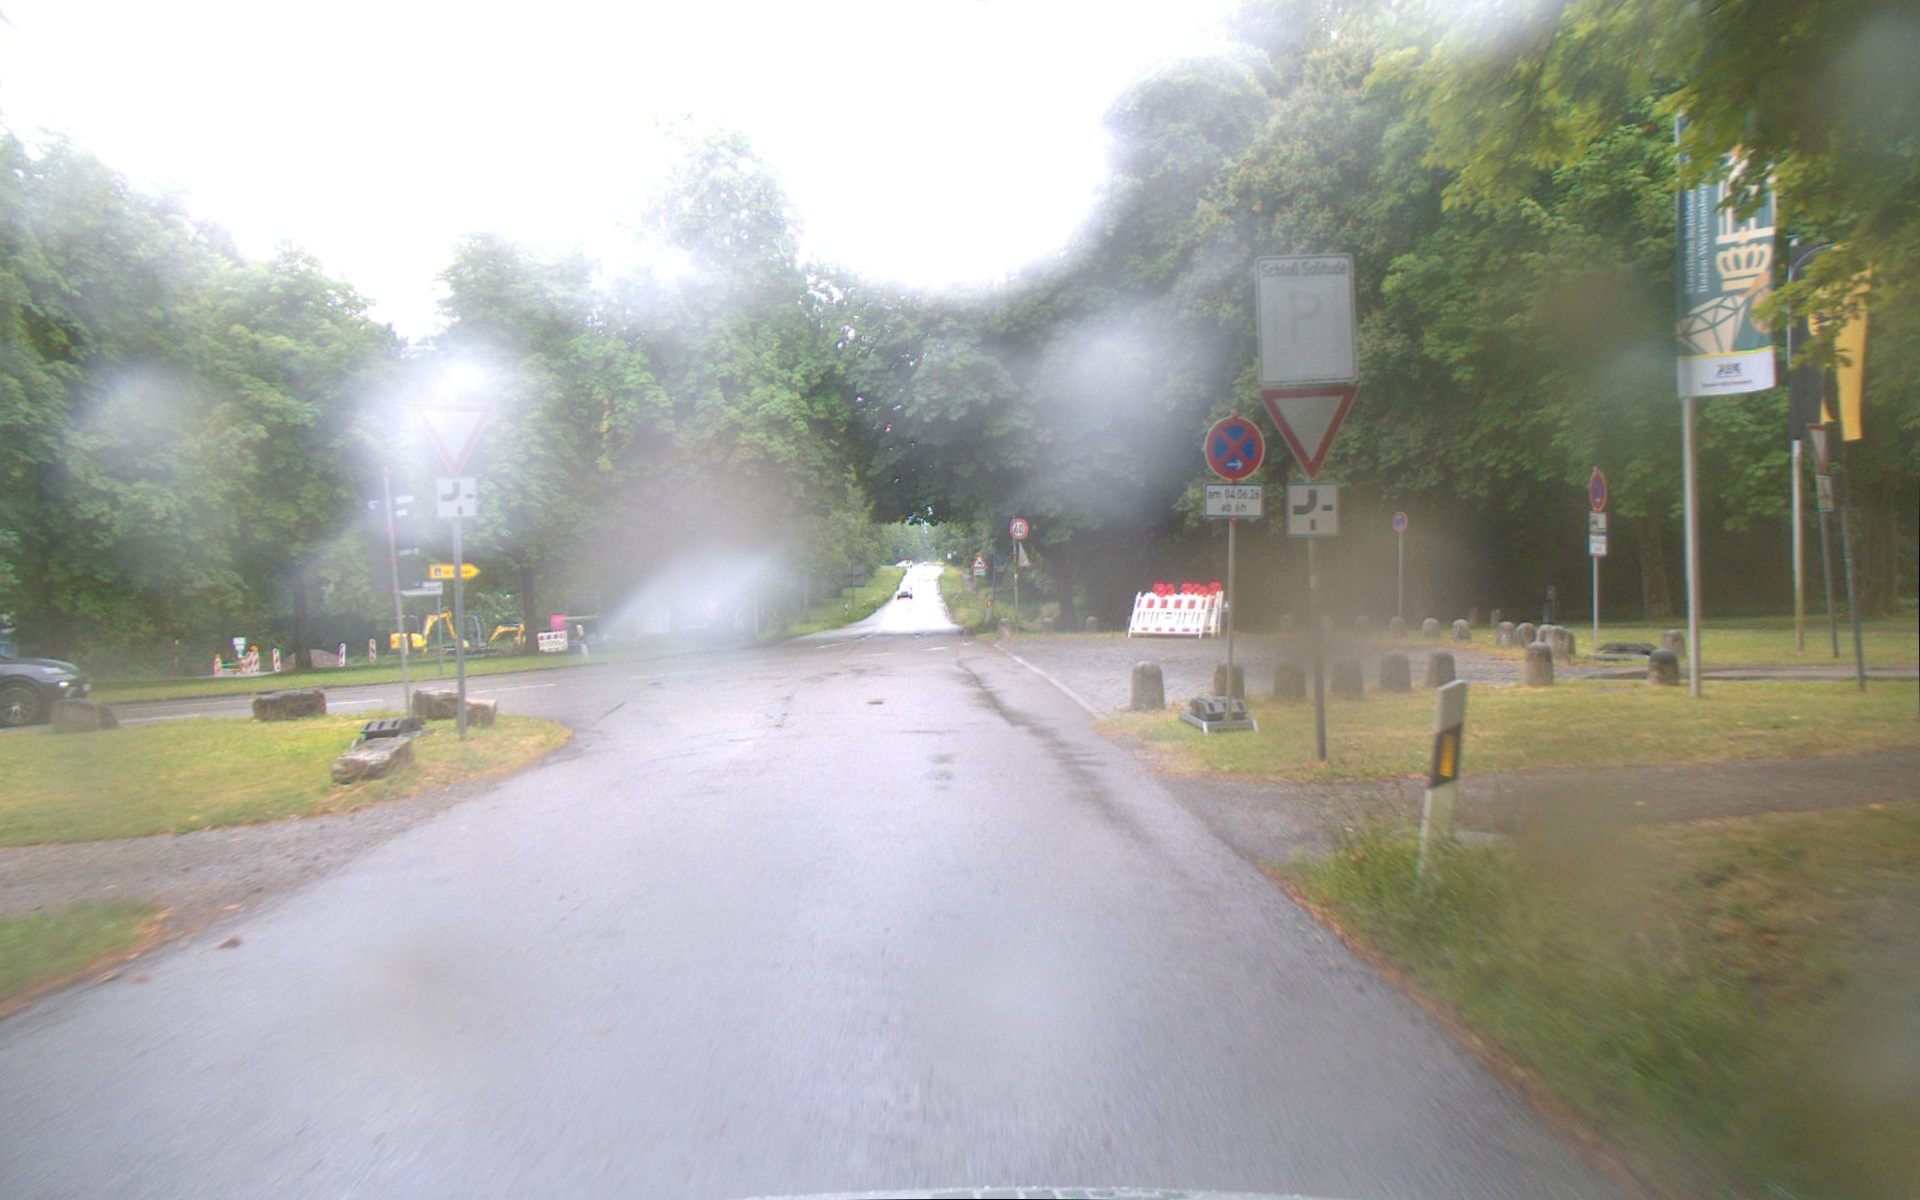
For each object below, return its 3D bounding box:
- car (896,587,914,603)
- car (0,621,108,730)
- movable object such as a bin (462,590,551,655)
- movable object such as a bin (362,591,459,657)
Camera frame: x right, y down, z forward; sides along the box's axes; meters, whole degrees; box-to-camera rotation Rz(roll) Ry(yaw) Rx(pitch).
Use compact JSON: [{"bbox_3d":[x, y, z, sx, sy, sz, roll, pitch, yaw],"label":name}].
[{"bbox_3d":[-6.567,-0.622,196.844,1.953,1.746,3.999,-3,0,-1],"label":"car"},{"bbox_3d":[-17.563,1.411,28.820,4.490,1.738,1.723,-4,1,-18],"label":"car"},{"bbox_3d":[-25.831,1.251,94.364,4.502,3.351,3.655,-3,0,-12],"label":"movable object such as a bin"},{"bbox_3d":[-30.718,1.319,92.621,4.574,3.351,3.902,-3,0,-12],"label":"movable object such as a bin"}]
